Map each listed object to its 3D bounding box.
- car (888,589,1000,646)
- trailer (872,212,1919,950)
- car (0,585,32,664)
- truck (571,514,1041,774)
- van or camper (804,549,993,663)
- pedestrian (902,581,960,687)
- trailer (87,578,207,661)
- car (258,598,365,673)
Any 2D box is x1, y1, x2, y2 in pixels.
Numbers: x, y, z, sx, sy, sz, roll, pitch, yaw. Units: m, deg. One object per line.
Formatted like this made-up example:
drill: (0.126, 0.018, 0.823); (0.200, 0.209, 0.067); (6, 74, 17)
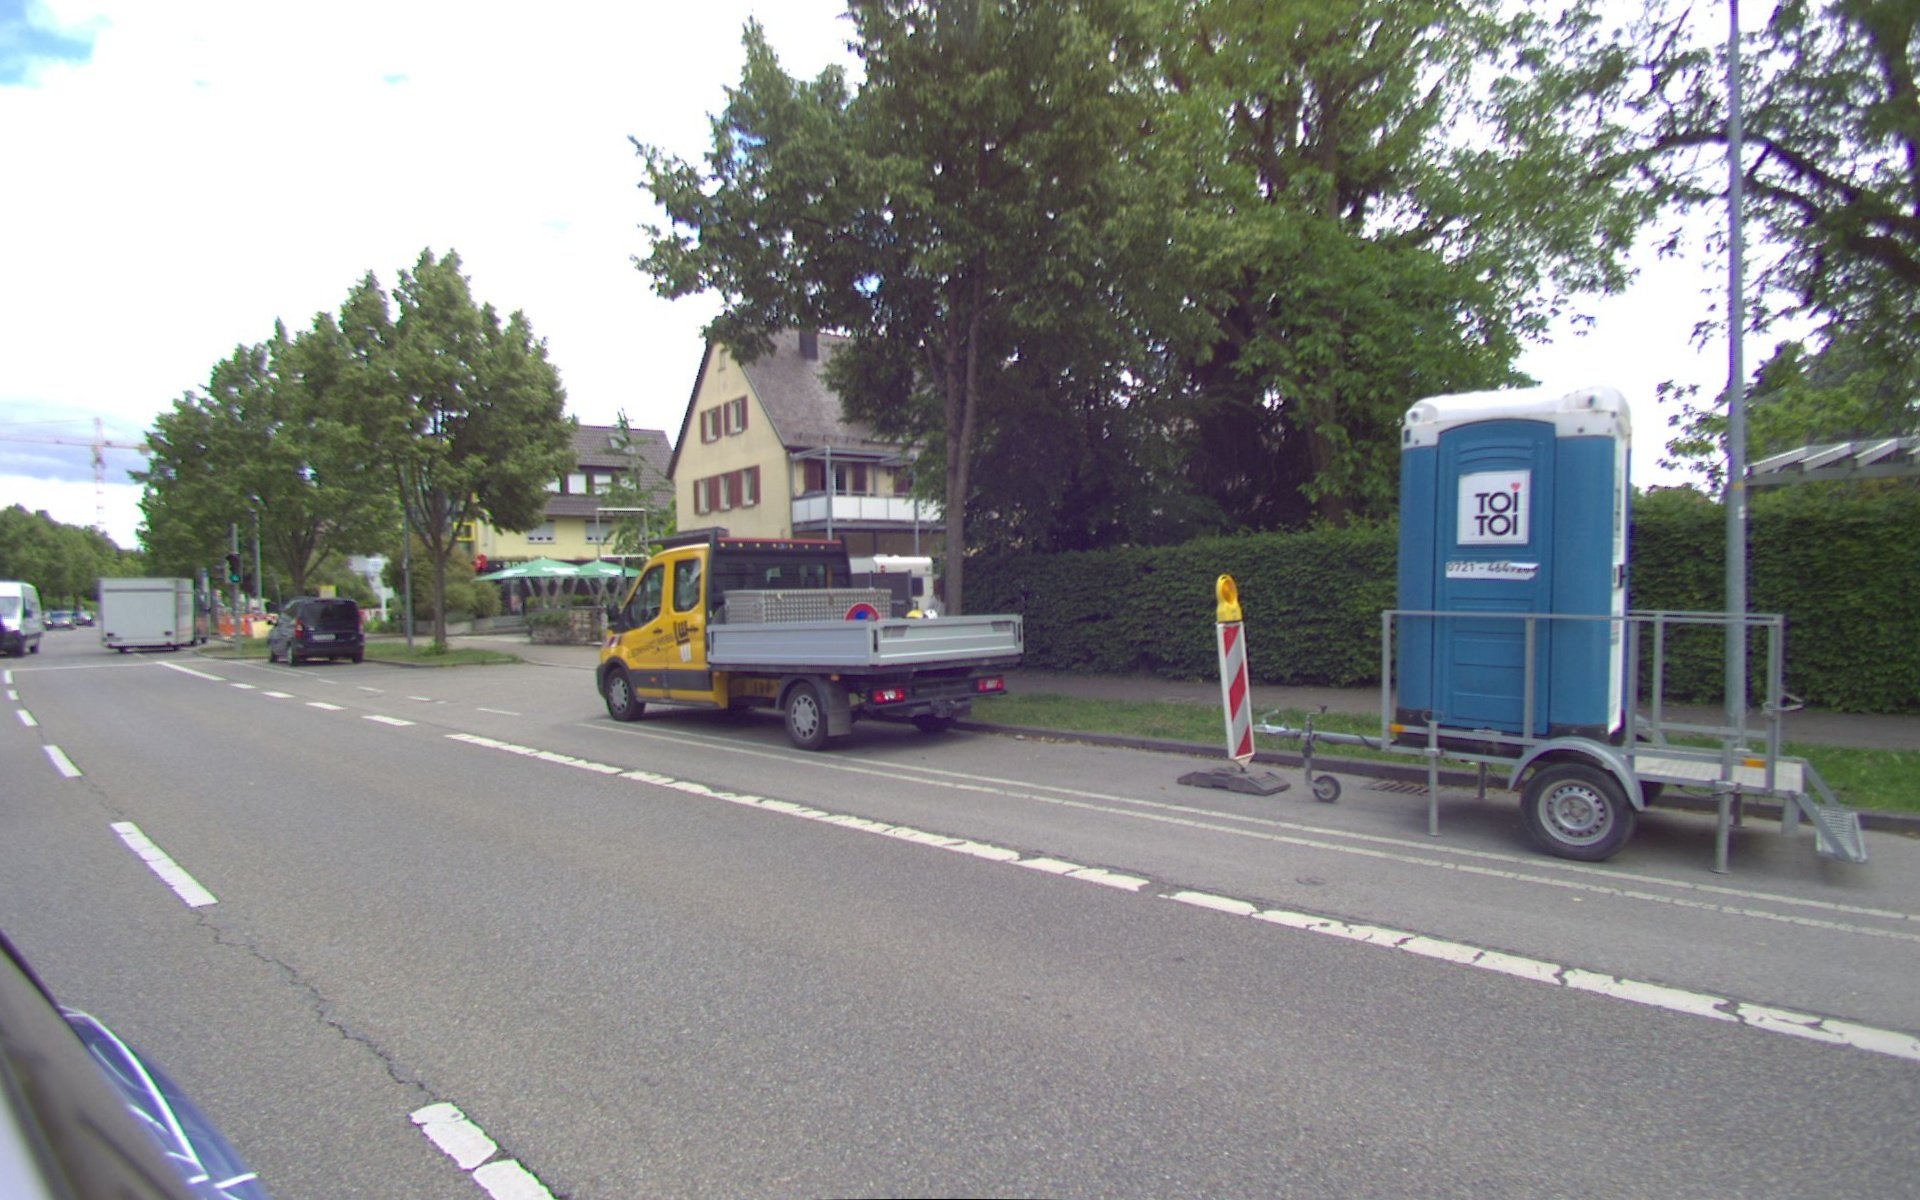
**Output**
car: (-0.577, 0.536, 32.267); (1.816, 1.674, 4.012); (-1, 0, -31)
trailer: (2.489, -0.036, 7.278); (2.344, 2.985, 7.016); (0, -1, -44)
car: (-33.323, 0.830, 34.670); (1.968, 2.619, 4.008); (-1, 1, -39)
truck: (-2.204, 0.425, 12.093); (2.268, 2.304, 6.468); (0, -1, -44)
van or camper: (-1.908, 0.173, 28.933); (2.562, 2.905, 5.951); (-1, 0, -36)
pedestrian: (-0.494, 0.565, 17.189); (0.633, 1.755, 0.722); (-1, 0, -44)
trailer: (-31.257, 0.699, 39.182); (2.598, 2.900, 6.891); (-1, 0, -30)
car: (-18.068, 0.932, 28.104); (1.687, 1.888, 4.402); (-1, 0, -43)
